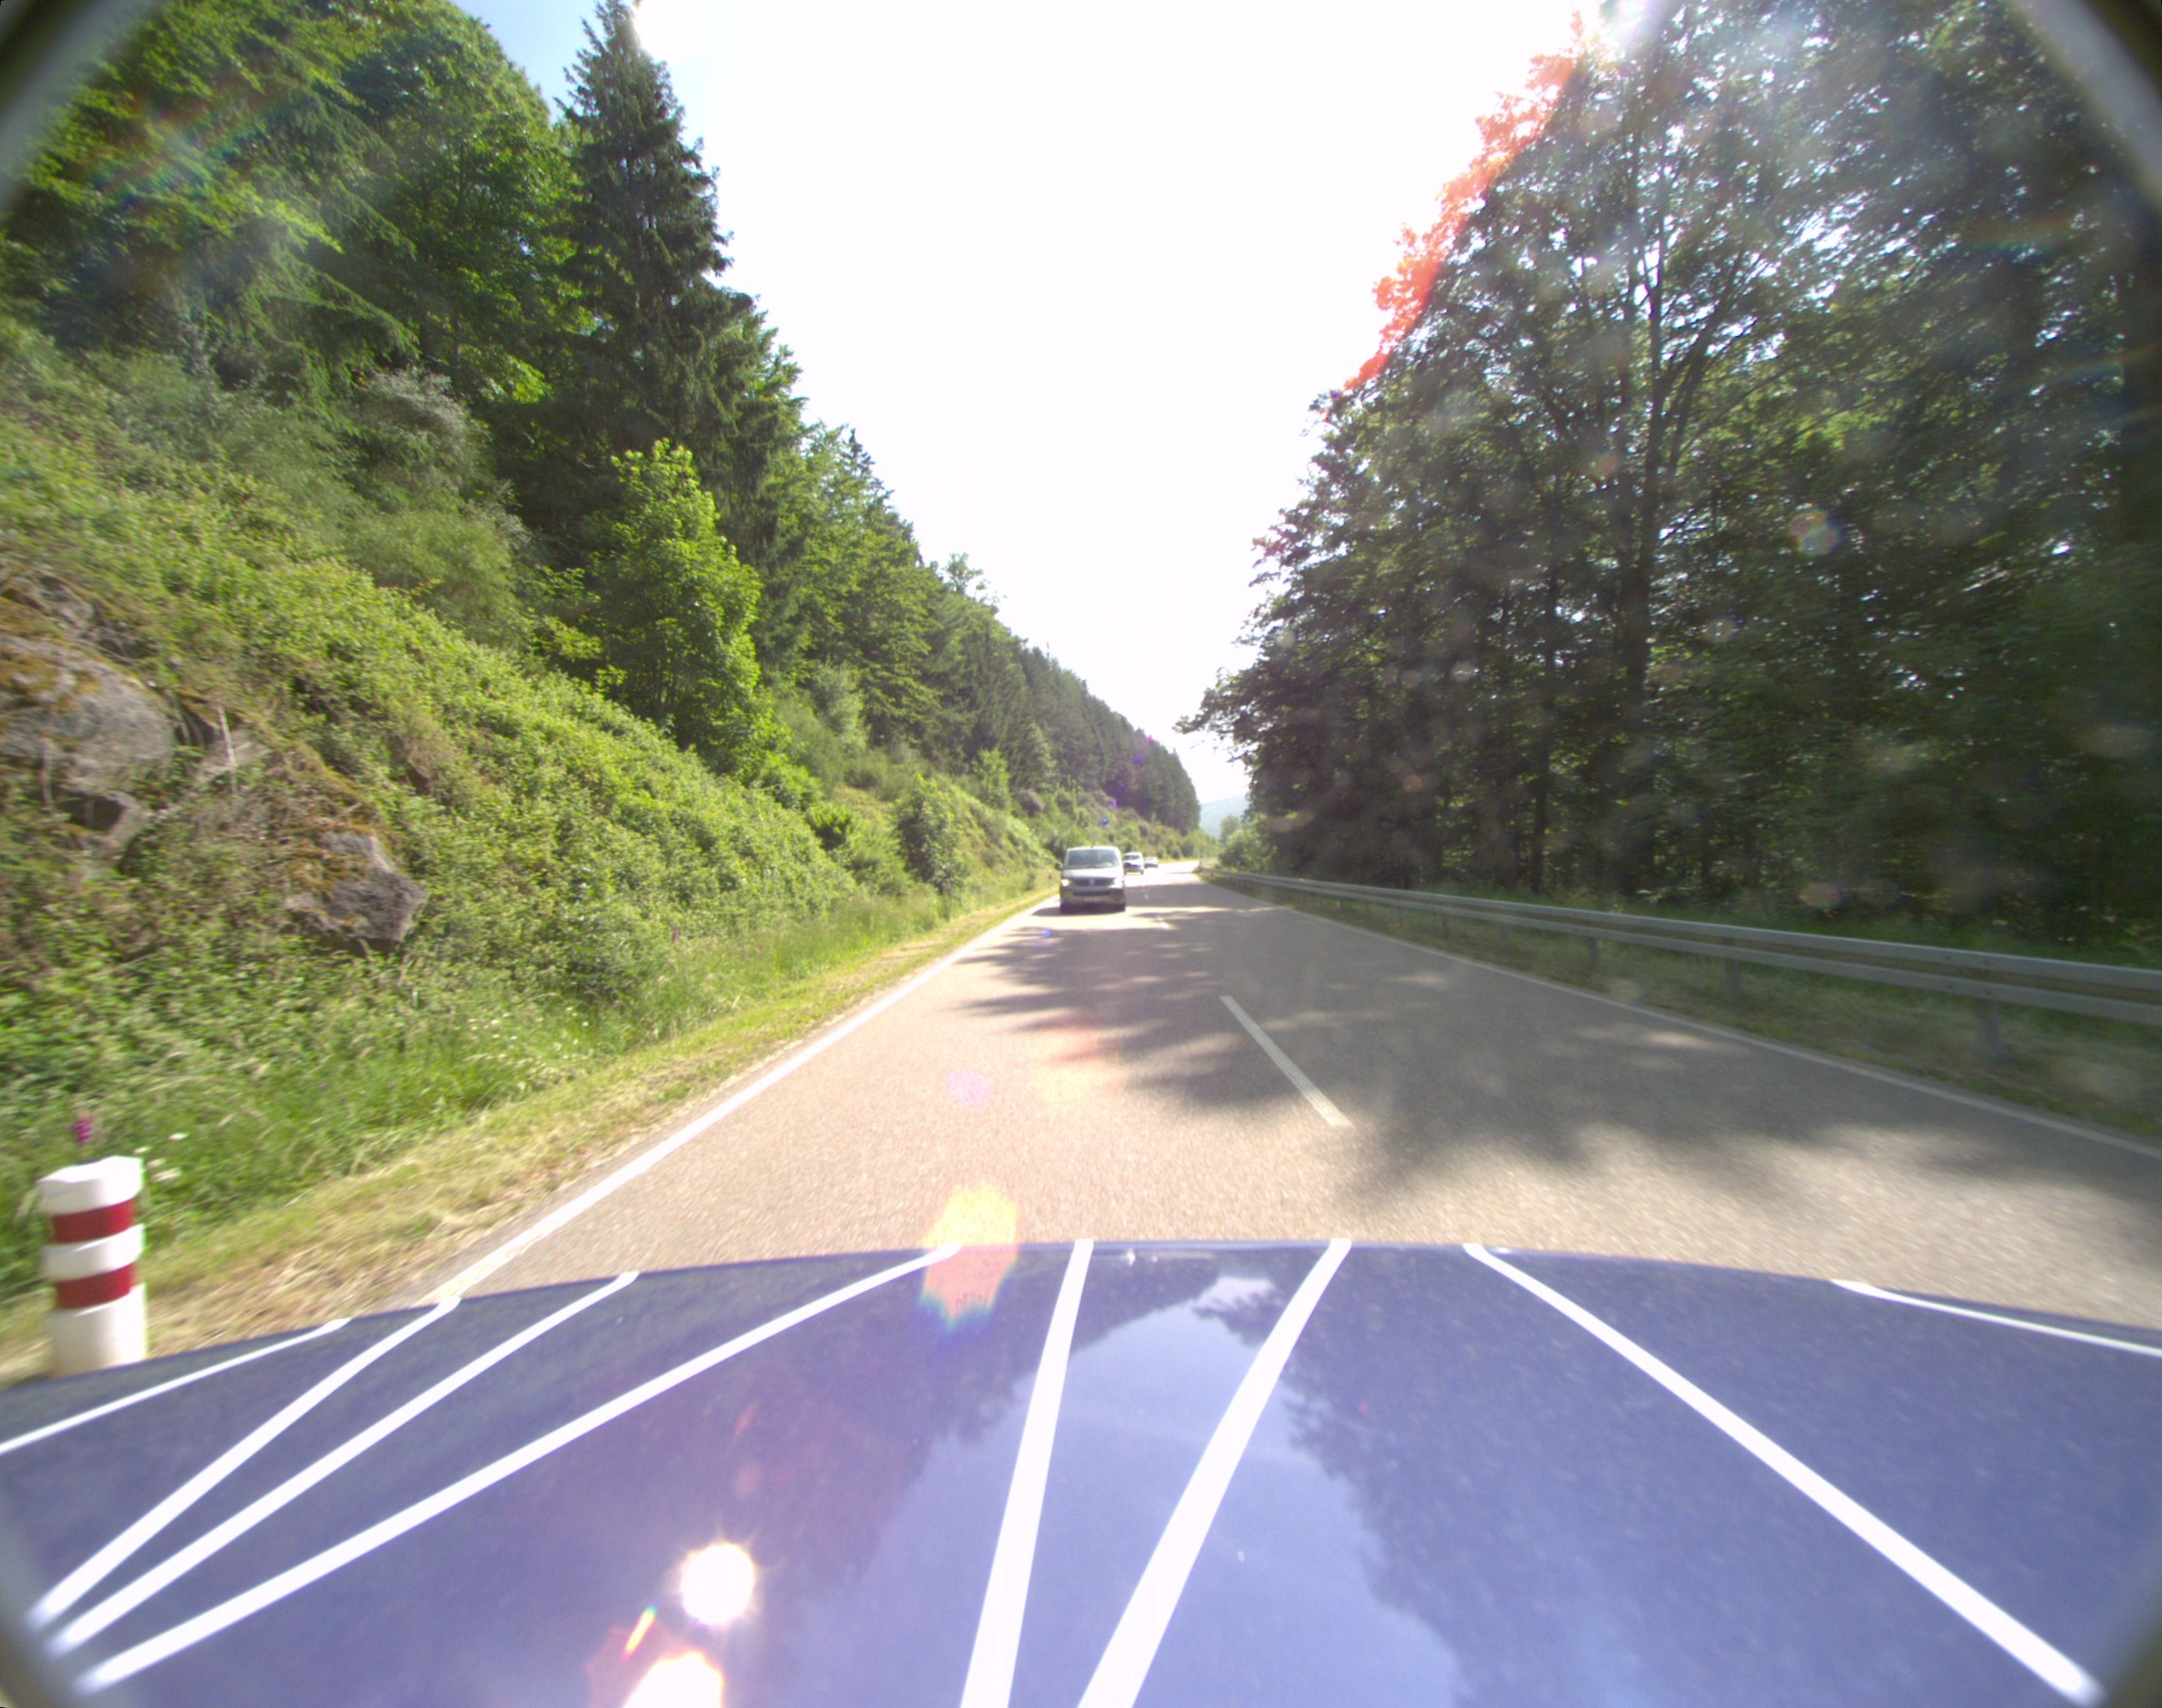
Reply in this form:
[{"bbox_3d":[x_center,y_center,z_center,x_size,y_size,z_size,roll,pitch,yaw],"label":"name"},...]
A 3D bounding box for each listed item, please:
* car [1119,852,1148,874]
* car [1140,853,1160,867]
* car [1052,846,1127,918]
[{"bbox_3d":[4.648,0.736,66.637,2.136,1.824,4.725,-1,0,9],"label":"car"},{"bbox_3d":[8.909,0.792,97.520,1.996,1.718,4.004,-1,0,13],"label":"car"},{"bbox_3d":[0.372,0.764,23.107,1.990,1.899,4.761,-2,0,3],"label":"car"}]
